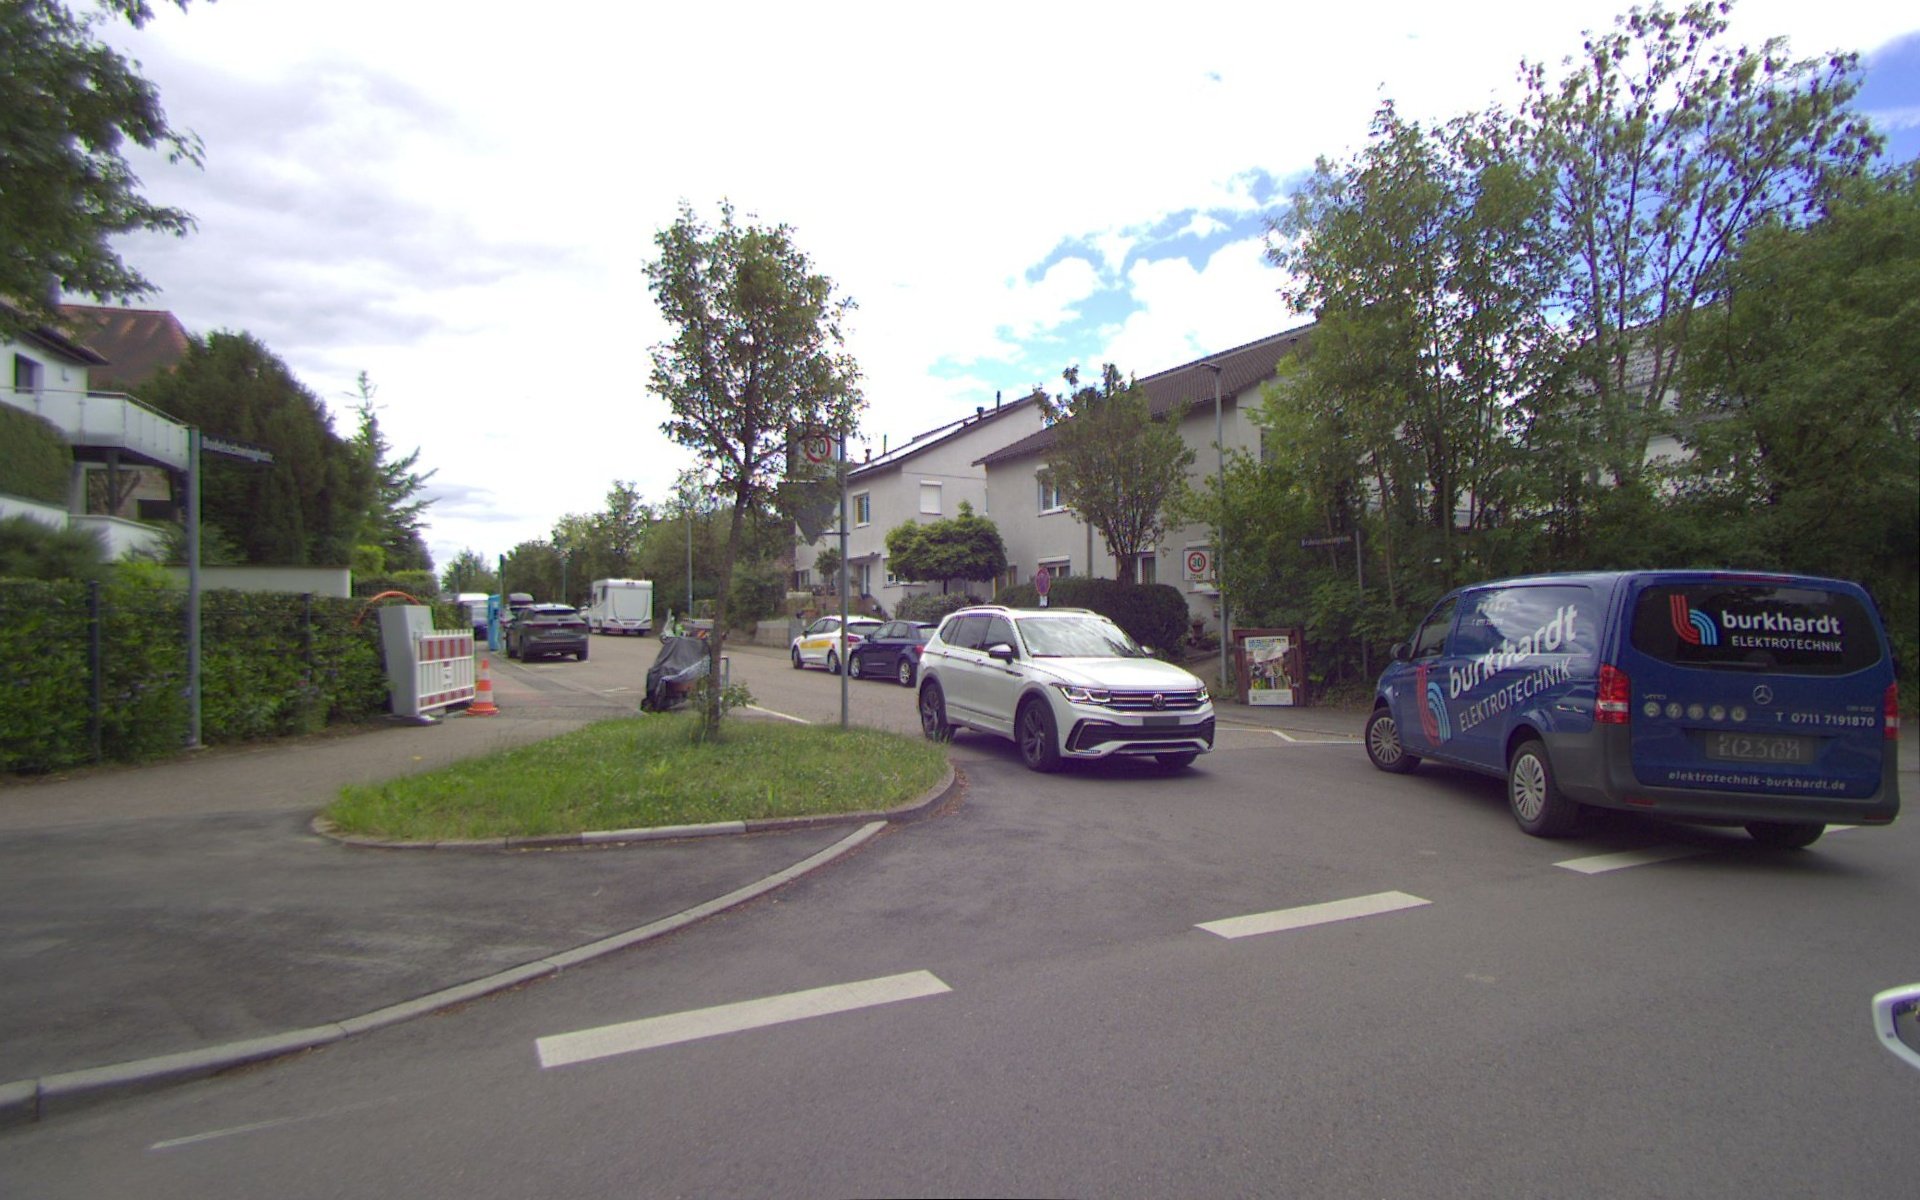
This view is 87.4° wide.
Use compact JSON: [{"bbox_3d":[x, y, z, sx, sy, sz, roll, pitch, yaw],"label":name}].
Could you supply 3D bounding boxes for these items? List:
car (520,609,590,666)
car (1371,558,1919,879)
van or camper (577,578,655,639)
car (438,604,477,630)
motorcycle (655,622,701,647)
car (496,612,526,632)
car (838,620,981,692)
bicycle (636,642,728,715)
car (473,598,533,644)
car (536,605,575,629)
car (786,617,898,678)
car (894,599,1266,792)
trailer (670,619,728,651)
[{"bbox_3d":[-12.241,1.080,30.247,1.740,1.549,3.943,1,-1,-25],"label":"car"},{"bbox_3d":[5.111,0.737,8.387,1.903,1.905,4.533,1,-1,6],"label":"car"},{"bbox_3d":[-17.517,0.428,50.808,2.280,2.883,7.559,1,-1,-30],"label":"van or camper"},{"bbox_3d":[-29.089,0.948,58.104,1.515,1.431,3.517,1,-1,-35],"label":"car"},{"bbox_3d":[-11.419,1.393,40.644,2.009,0.977,0.717,1,-1,36],"label":"motorcycle"},{"bbox_3d":[-34.871,1.703,77.927,1.515,1.431,3.517,1,-1,-35],"label":"car"},{"bbox_3d":[-1.216,1.193,22.635,1.654,1.431,3.518,1,-1,-34],"label":"car"},{"bbox_3d":[-4.469,1.237,16.374,0.639,1.015,2.586,1,-1,3],"label":"bicycle"},{"bbox_3d":[-19.530,0.874,42.869,1.976,1.817,3.969,2,-1,-29],"label":"car"},{"bbox_3d":[-25.758,1.082,63.918,1.515,1.431,3.517,1,-1,-35],"label":"car"},{"bbox_3d":[-3.147,1.190,26.228,1.513,1.431,3.765,1,-1,-30],"label":"car"},{"bbox_3d":[1.034,0.881,11.480,2.009,1.692,4.924,2,-1,-23],"label":"car"},{"bbox_3d":[-9.964,1.321,38.215,1.461,1.111,3.361,2,-1,-26],"label":"trailer"}]
